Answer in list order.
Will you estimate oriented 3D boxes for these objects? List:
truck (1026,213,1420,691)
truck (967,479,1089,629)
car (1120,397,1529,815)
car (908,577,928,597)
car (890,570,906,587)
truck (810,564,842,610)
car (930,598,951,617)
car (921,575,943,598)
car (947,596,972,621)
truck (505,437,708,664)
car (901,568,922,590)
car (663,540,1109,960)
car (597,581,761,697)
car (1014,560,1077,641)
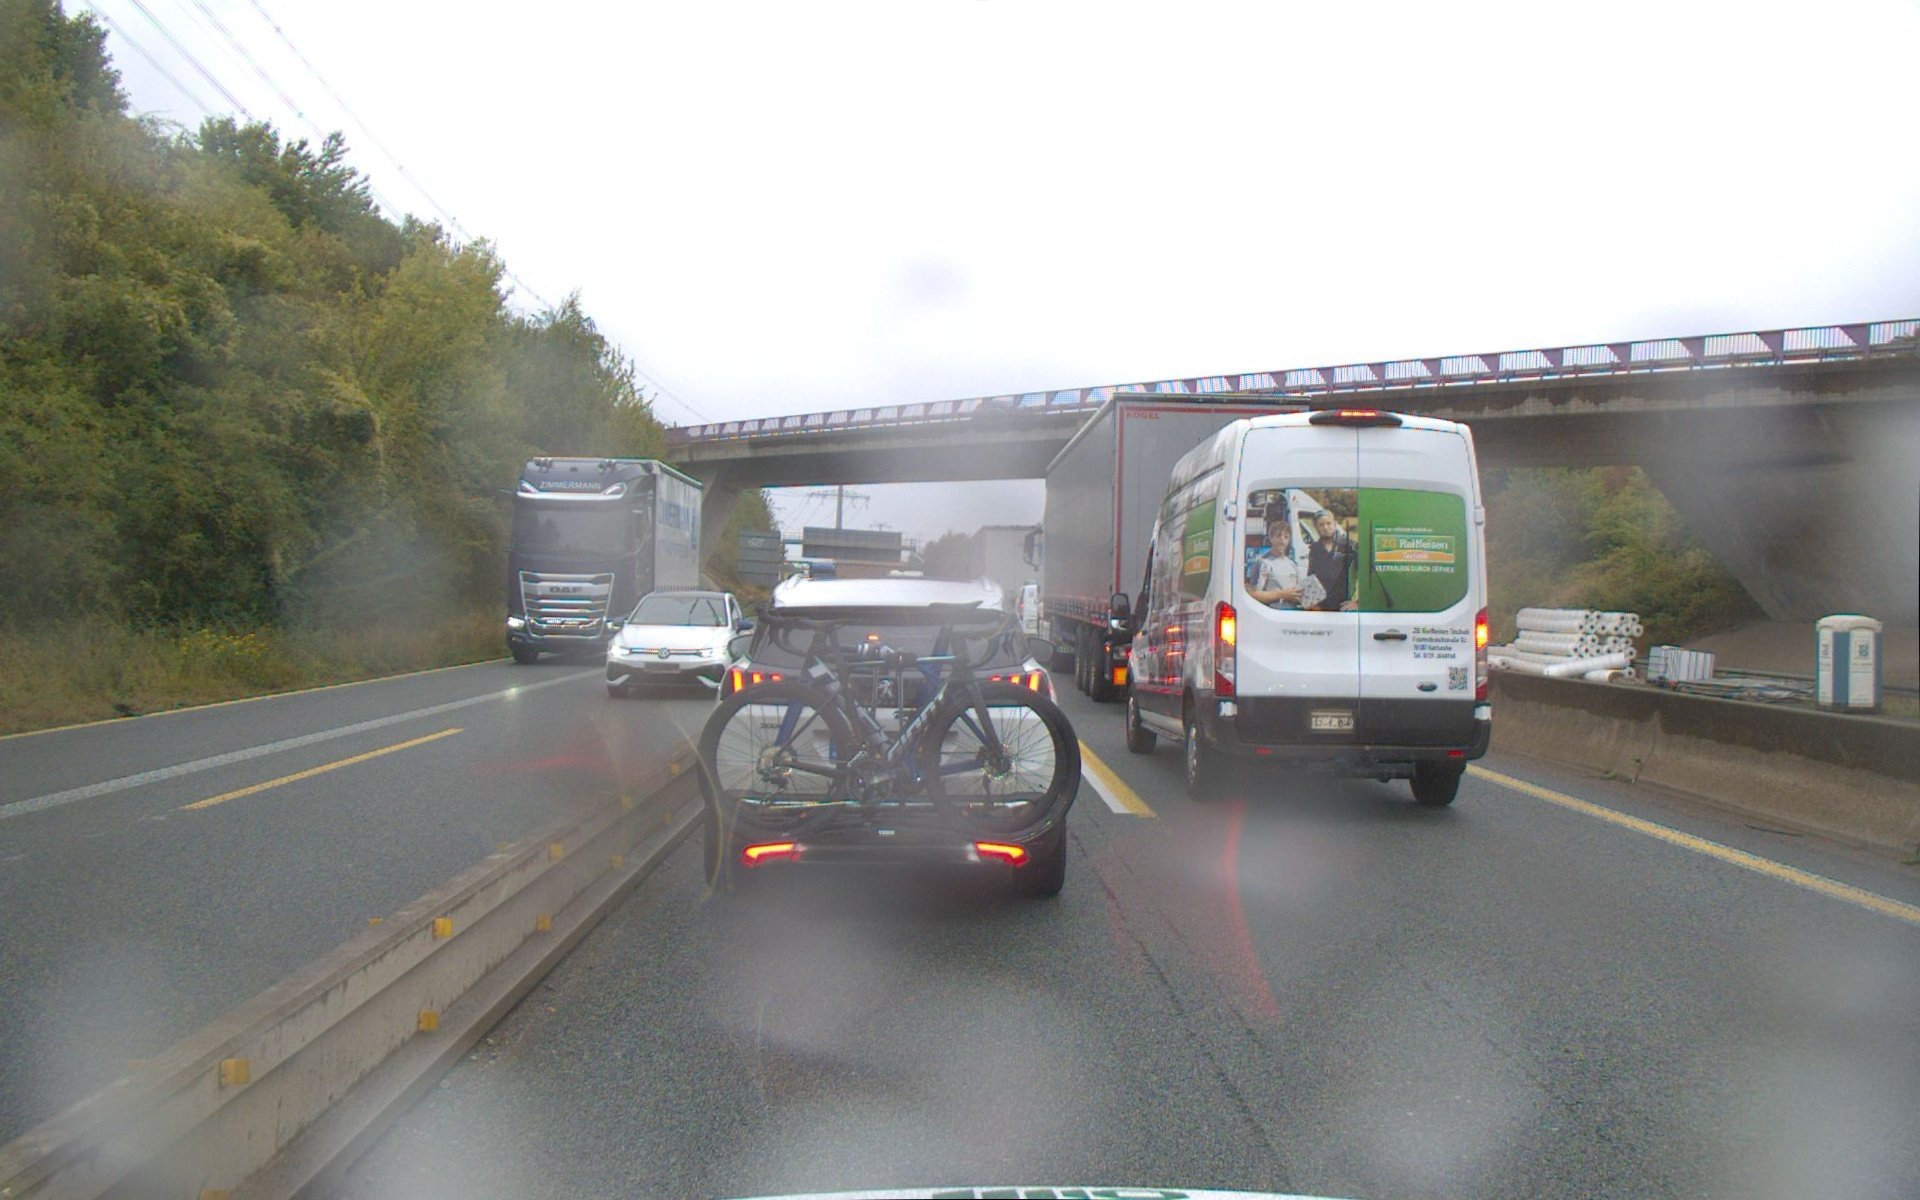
[{"bbox_3d":[3.625,-1.781,30.366,3.898,5.772,20.374,1,0,0],"label":"truck"},{"bbox_3d":[2.817,-1.776,74.566,4.645,5.772,20.377,1,0,1],"label":"truck"},{"bbox_3d":[2.701,0.046,13.961,2.100,2.723,6.117,1,0,0],"label":"car"},{"bbox_3d":[-4.454,-1.395,176.010,1.953,2.049,4.000,1,0,0],"label":"car"},{"bbox_3d":[-8.278,-2.856,221.364,1.953,2.164,4.526,1,0,0],"label":"car"},{"bbox_3d":[-12.797,-1.190,158.149,2.414,4.195,10.085,1,0,-1],"label":"truck"},{"bbox_3d":[-1.580,0.596,134.725,1.605,1.524,3.666,1,0,0],"label":"car"},{"bbox_3d":[-2.603,-1.266,154.860,1.953,2.049,3.999,1,0,-1],"label":"car"},{"bbox_3d":[-0.024,0.549,108.135,1.605,1.524,3.666,1,0,0],"label":"car"},{"bbox_3d":[-7.358,-0.902,35.895,2.414,4.195,10.085,1,0,-1],"label":"truck"},{"bbox_3d":[-5.520,-2.361,188.764,2.193,2.347,4.571,1,0,0],"label":"car"},{"bbox_3d":[-0.261,0.610,8.989,1.773,1.666,4.636,1,0,1],"label":"car"},{"bbox_3d":[-3.991,0.527,24.068,1.900,1.520,3.997,1,0,-4],"label":"car"},{"bbox_3d":[2.459,0.022,48.182,1.635,2.218,4.535,1,0,1],"label":"car"}]
